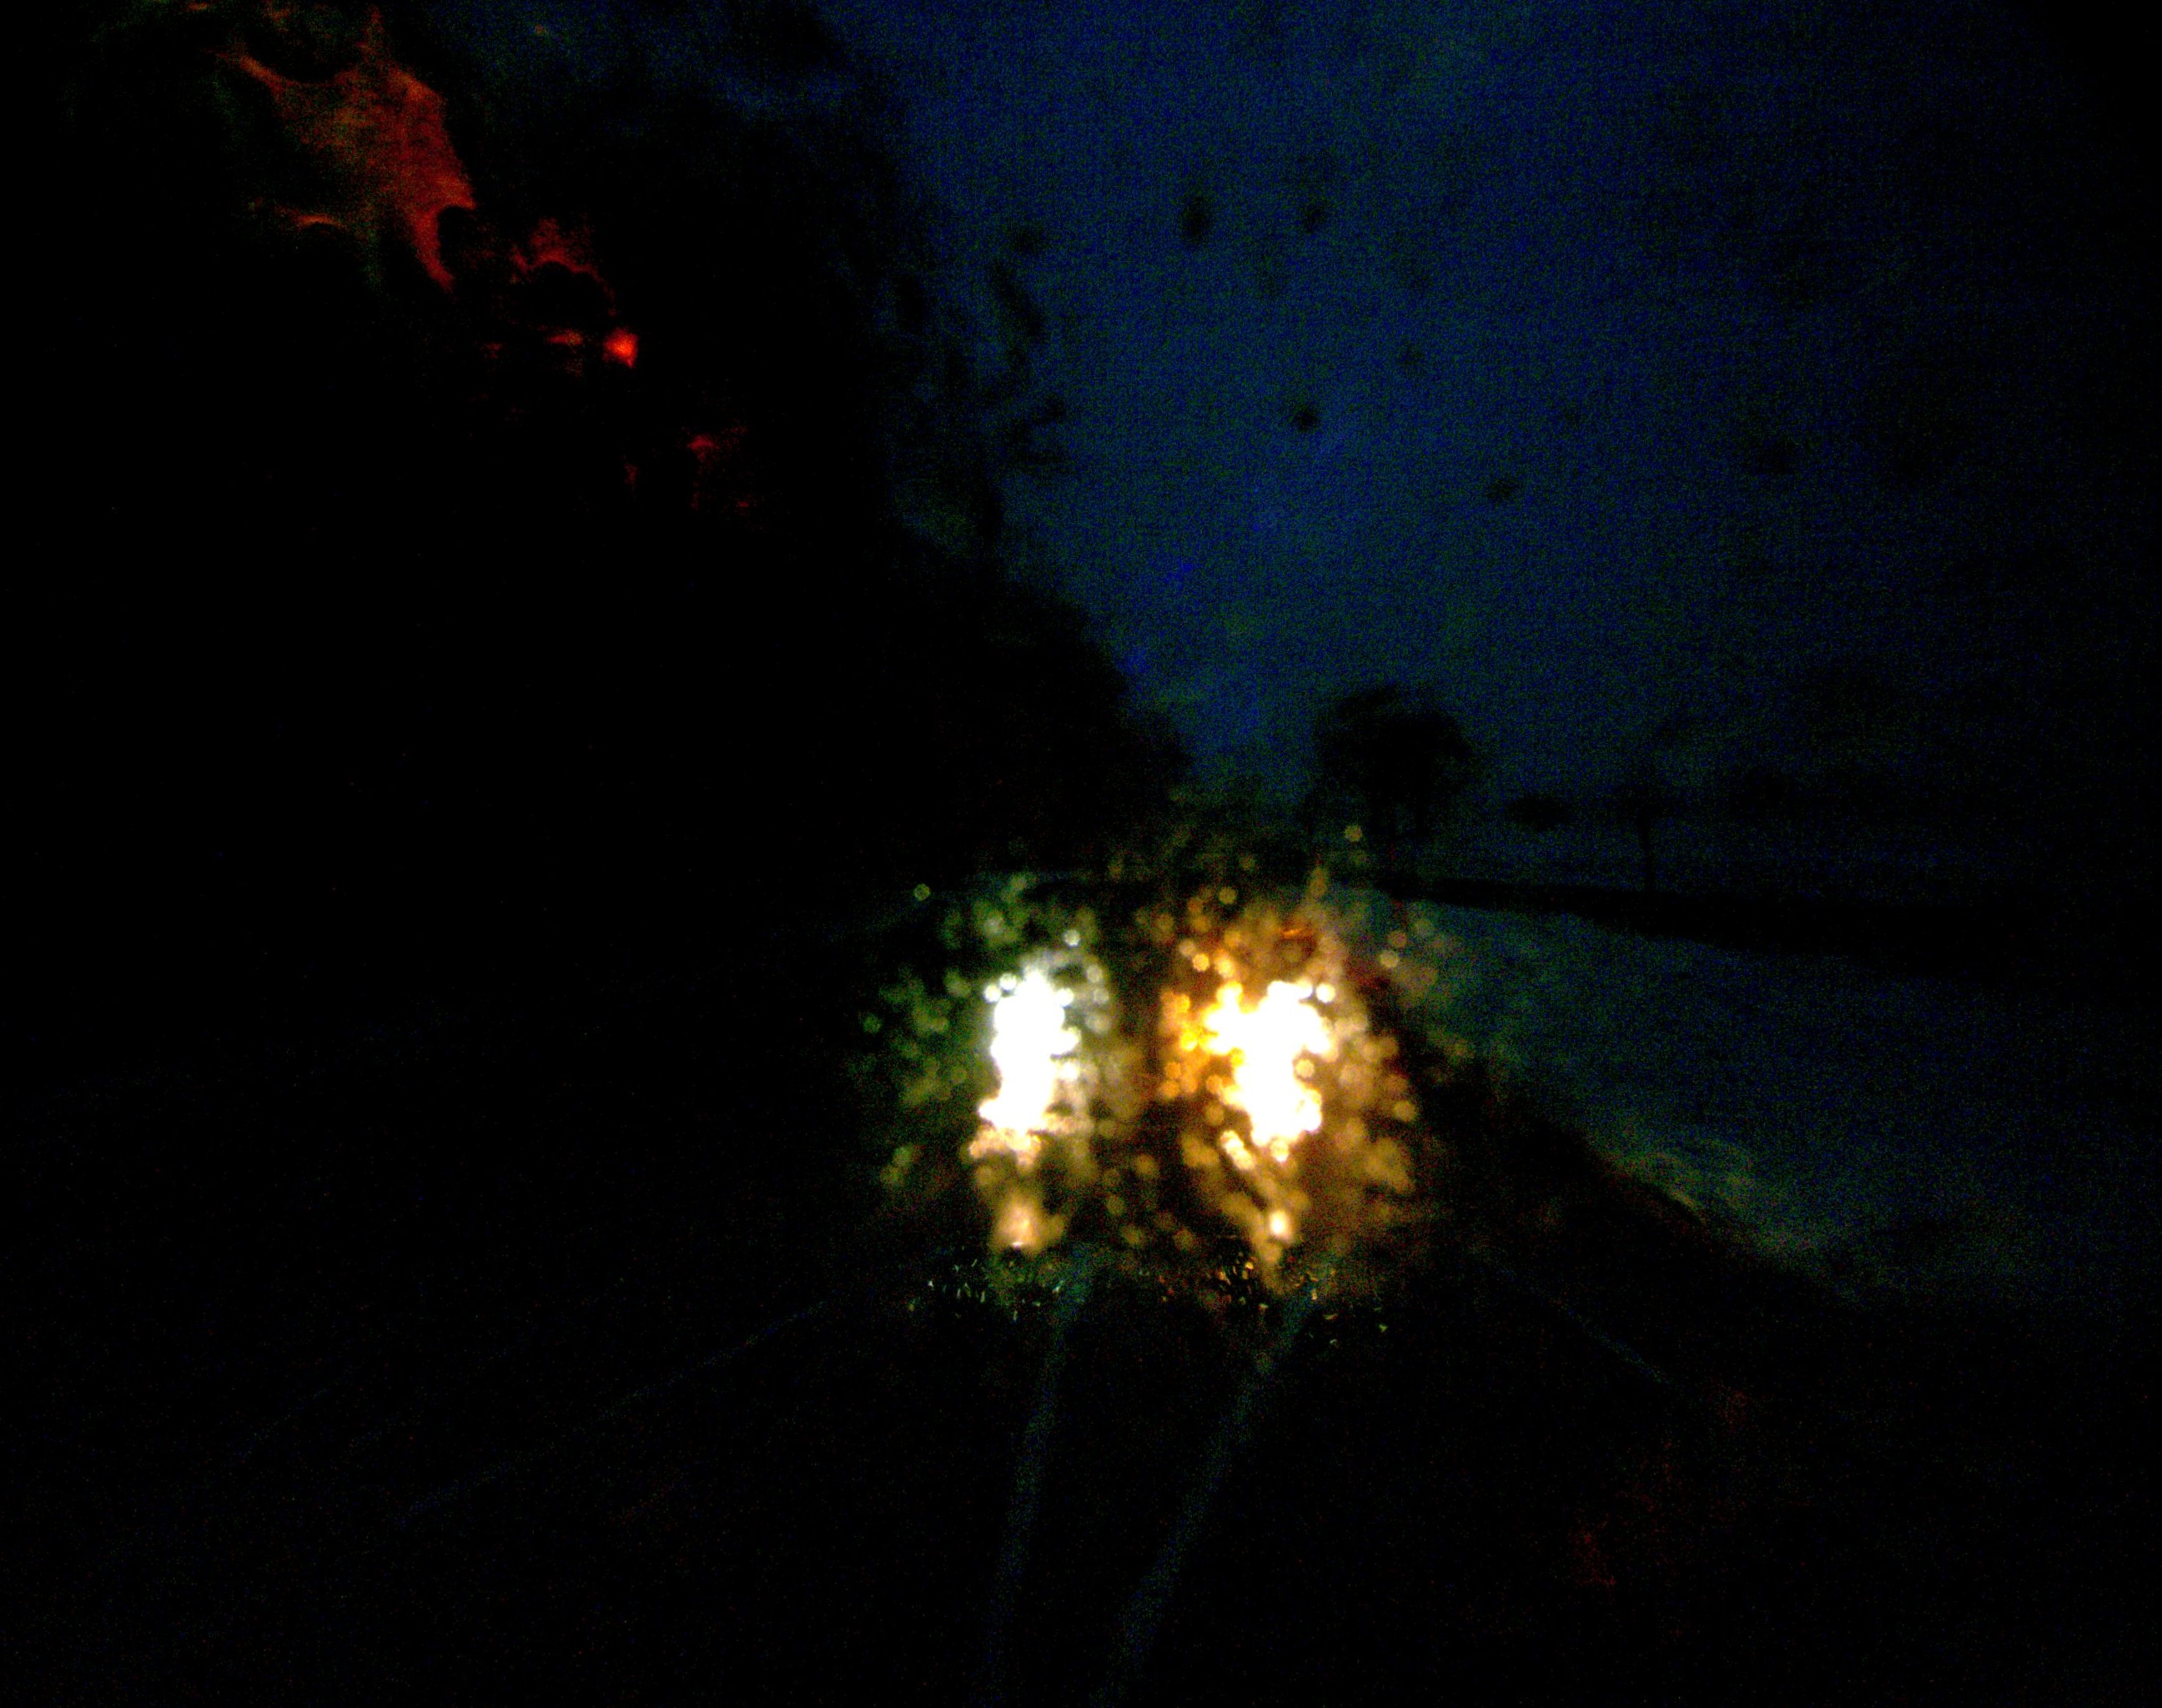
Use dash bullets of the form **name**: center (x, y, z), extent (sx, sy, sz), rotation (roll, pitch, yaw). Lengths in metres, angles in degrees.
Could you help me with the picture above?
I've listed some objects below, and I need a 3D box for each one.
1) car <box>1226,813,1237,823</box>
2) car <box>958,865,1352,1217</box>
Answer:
- **car**: center (28.240, -6.682, 142.621), extent (1.997, 1.797, 4.001), rotation (-2, 2, 10)
- **car**: center (0.429, 0.887, 5.278), extent (1.725, 1.426, 3.676), rotation (-2, 1, 3)
